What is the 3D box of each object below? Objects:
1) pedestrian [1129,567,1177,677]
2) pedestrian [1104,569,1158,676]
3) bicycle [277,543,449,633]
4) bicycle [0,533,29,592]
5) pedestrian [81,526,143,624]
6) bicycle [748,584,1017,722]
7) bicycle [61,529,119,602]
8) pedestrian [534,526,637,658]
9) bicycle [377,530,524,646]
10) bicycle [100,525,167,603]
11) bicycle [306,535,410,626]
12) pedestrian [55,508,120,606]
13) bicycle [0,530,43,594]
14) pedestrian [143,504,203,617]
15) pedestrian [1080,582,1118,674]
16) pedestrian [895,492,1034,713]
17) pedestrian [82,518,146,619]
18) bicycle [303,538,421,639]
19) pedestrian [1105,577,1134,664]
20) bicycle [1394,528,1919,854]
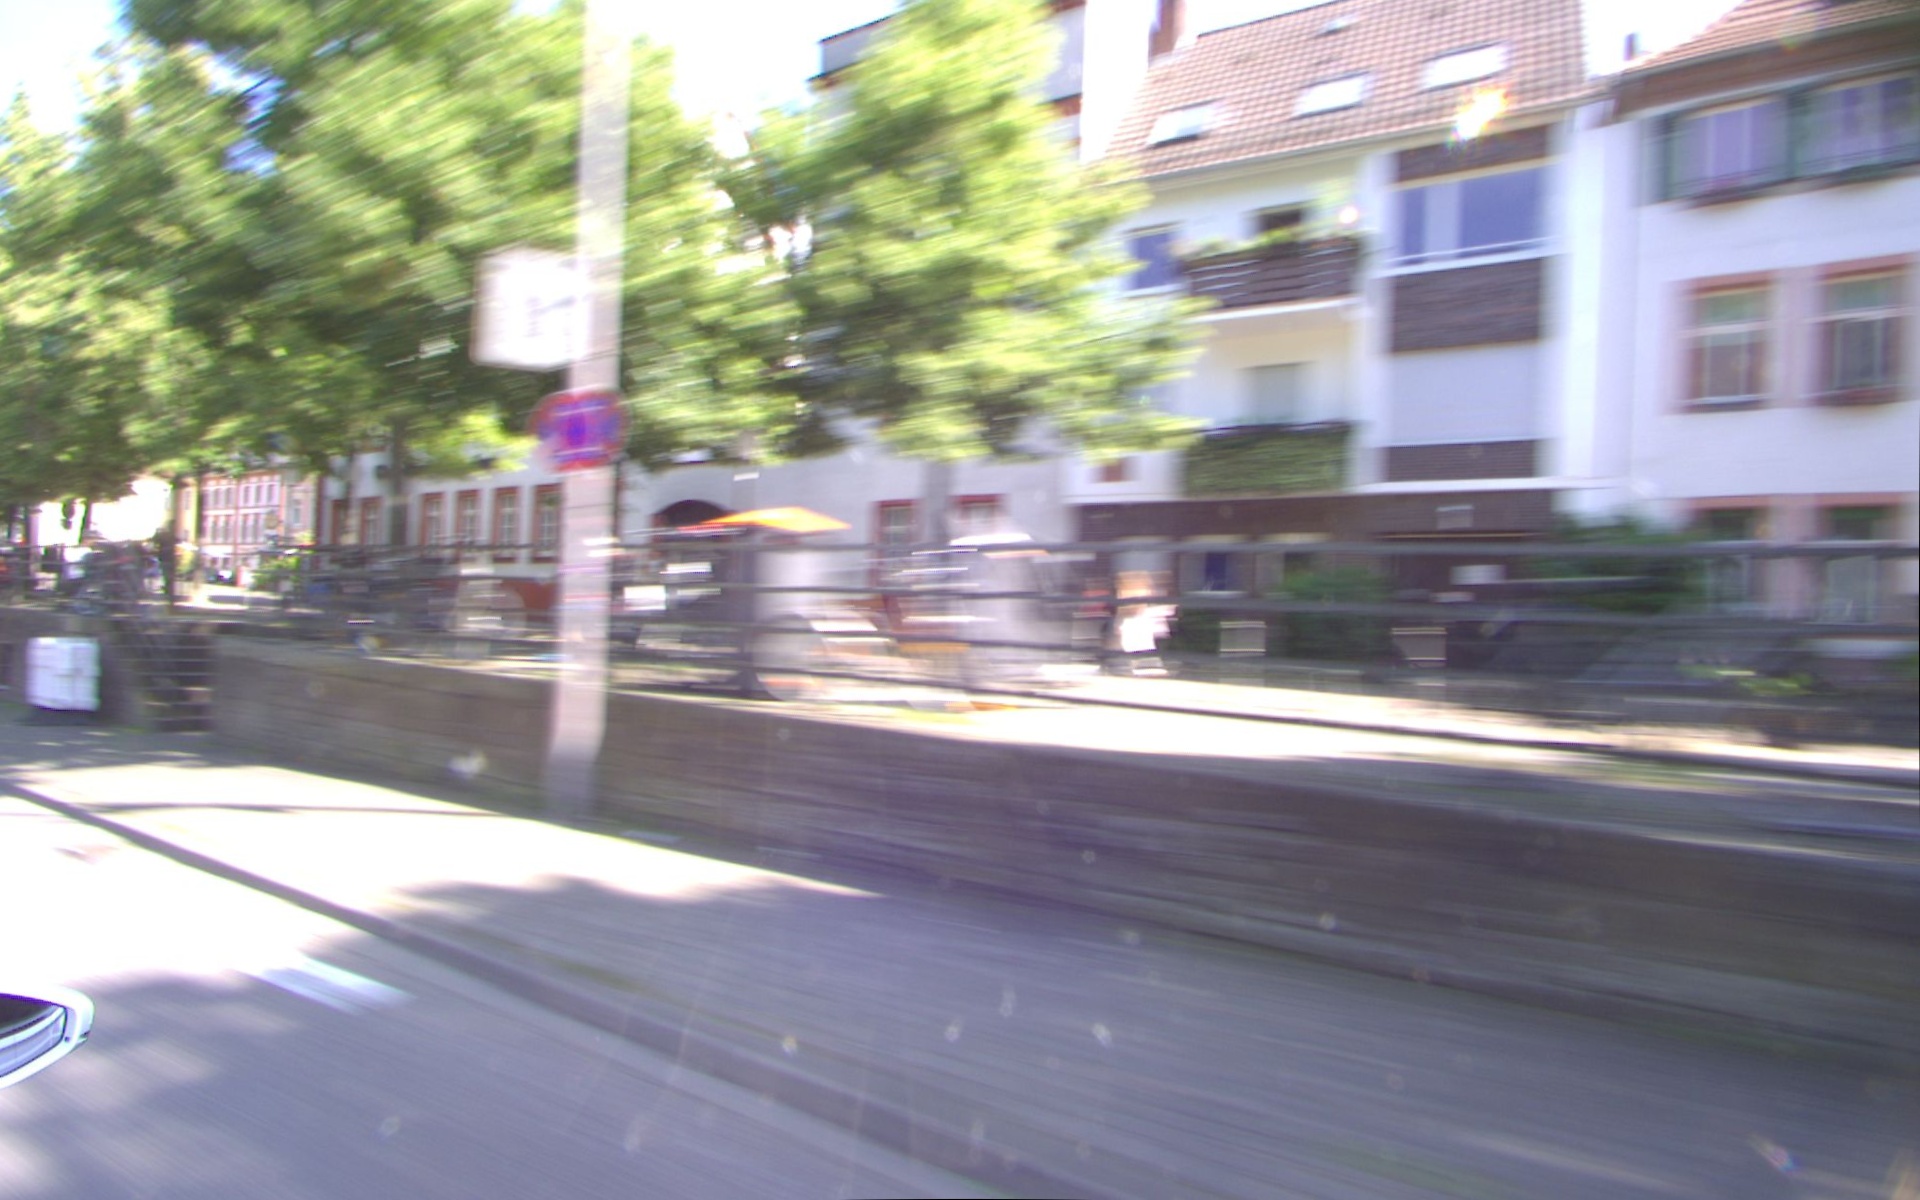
[{"bbox_3d":[2.995,0.345,15.503,0.495,1.656,0.538,1,-2,36],"label":"pedestrian"},{"bbox_3d":[2.566,0.344,15.031,0.600,1.564,0.467,1,-2,36],"label":"pedestrian"},{"bbox_3d":[-7.219,-0.113,12.205,0.294,1.017,1.851,2,-1,31],"label":"bicycle"},{"bbox_3d":[-18.994,-0.727,19.703,1.707,1.120,0.410,1,0,27],"label":"bicycle"},{"bbox_3d":[-15.510,-0.447,18.324,0.565,1.743,0.717,1,-1,34],"label":"pedestrian"},{"bbox_3d":[-0.552,0.307,6.492,1.891,0.794,0.349,1,-1,32],"label":"bicycle"},{"bbox_3d":[-14.075,-0.535,16.192,1.713,1.120,0.408,0,-1,39],"label":"bicycle"},{"bbox_3d":[-3.778,-0.068,10.131,0.659,1.281,0.694,1,-1,30],"label":"pedestrian"},{"bbox_3d":[-4.814,-0.122,9.401,1.913,1.018,0.297,2,0,34],"label":"bicycle"},{"bbox_3d":[-12.656,-0.521,15.313,1.900,1.120,0.408,0,-1,39],"label":"bicycle"},{"bbox_3d":[-8.126,-0.262,13.484,1.906,1.155,0.381,2,0,34],"label":"bicycle"},{"bbox_3d":[-16.120,-0.774,18.498,0.701,1.743,0.717,1,-1,34],"label":"pedestrian"},{"bbox_3d":[-17.429,-0.683,18.538,1.713,1.120,0.408,0,-1,39],"label":"bicycle"},{"bbox_3d":[-15.798,-0.770,20.100,0.701,2.217,0.717,1,-1,34],"label":"pedestrian"},{"bbox_3d":[2.312,0.470,16.649,0.383,1.502,0.507,1,-2,36],"label":"pedestrian"},{"bbox_3d":[0.038,0.024,6.974,0.687,1.433,0.666,1,-1,33],"label":"pedestrian"},{"bbox_3d":[-15.078,-0.538,17.858,0.565,1.743,0.717,1,-1,34],"label":"pedestrian"},{"bbox_3d":[-6.446,-0.129,10.753,1.833,1.018,0.297,2,0,34],"label":"bicycle"},{"bbox_3d":[2.802,0.358,17.579,0.321,1.502,0.343,1,-2,36],"label":"pedestrian"},{"bbox_3d":[2.821,0.316,4.074,1.895,1.127,0.343,0,-1,39],"label":"bicycle"}]
